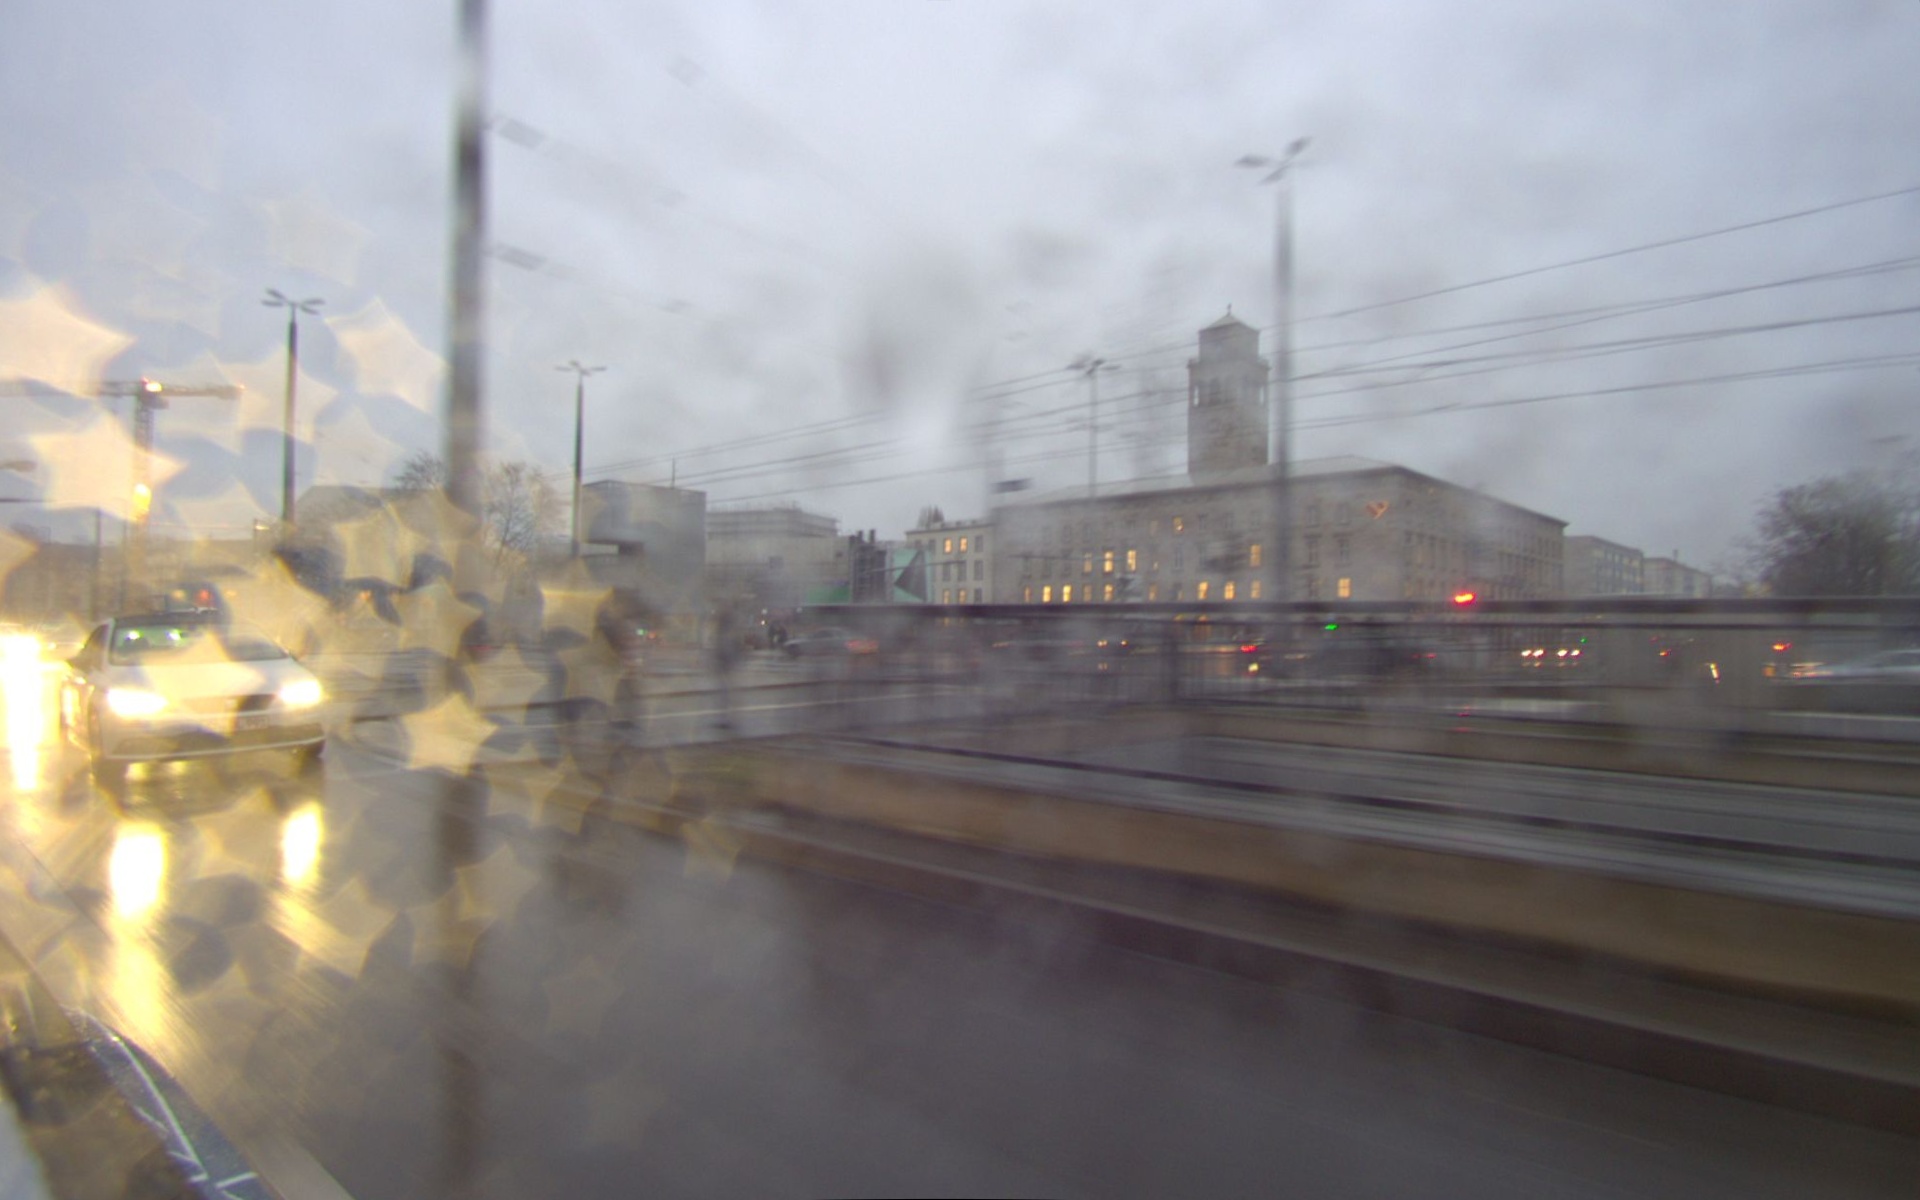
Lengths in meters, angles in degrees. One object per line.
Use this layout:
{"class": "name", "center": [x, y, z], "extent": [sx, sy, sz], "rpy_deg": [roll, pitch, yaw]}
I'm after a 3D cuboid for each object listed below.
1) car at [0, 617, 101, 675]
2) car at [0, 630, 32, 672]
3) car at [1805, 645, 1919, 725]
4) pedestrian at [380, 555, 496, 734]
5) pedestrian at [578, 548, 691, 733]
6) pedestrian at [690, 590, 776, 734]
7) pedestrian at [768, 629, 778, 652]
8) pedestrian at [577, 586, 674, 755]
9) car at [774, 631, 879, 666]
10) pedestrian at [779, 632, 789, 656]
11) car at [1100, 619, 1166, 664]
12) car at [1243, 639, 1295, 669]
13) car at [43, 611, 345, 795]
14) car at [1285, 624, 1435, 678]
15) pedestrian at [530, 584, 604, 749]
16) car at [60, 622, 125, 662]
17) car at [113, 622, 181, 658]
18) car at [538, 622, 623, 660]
{"class": "car", "center": [-28.205, 1.368, 31.292], "extent": [3.999, 1.696, 1.972], "rpy_deg": [-1, -2, 42]}
{"class": "car", "center": [-41.019, 2.147, 42.996], "extent": [3.984, 1.674, 1.844], "rpy_deg": [-1, -2, 40]}
{"class": "car", "center": [24.392, 2.149, 25.666], "extent": [4.377, 1.887, 1.856], "rpy_deg": [-1, -1, 37]}
{"class": "pedestrian", "center": [-6.654, 0.552, 12.910], "extent": [1.014, 2.162, 0.897], "rpy_deg": [-1, -1, 29]}
{"class": "pedestrian", "center": [-4.091, 0.502, 12.795], "extent": [0.948, 2.224, 1.048], "rpy_deg": [0, -1, 13]}
{"class": "pedestrian", "center": [-2.833, 0.754, 12.704], "extent": [0.757, 1.727, 0.857], "rpy_deg": [0, -1, 13]}
{"class": "pedestrian", "center": [-13.481, 2.929, 72.879], "extent": [0.645, 1.678, 0.743], "rpy_deg": [1, -2, -14]}
{"class": "pedestrian", "center": [-3.555, 0.735, 10.790], "extent": [0.743, 1.731, 0.651], "rpy_deg": [0, -1, 13]}
{"class": "car", "center": [-6.017, 2.142, 45.635], "extent": [4.420, 1.492, 1.981], "rpy_deg": [-1, -1, 28]}
{"class": "pedestrian", "center": [-12.655, 3.169, 72.895], "extent": [0.645, 1.674, 0.743], "rpy_deg": [1, -2, -14]}
{"class": "car", "center": [10.885, 2.542, 63.513], "extent": [2.001, 2.732, 4.376], "rpy_deg": [-1, -2, 44]}
{"class": "car", "center": [13.859, 2.405, 45.562], "extent": [1.431, 1.284, 3.158], "rpy_deg": [0, -1, 2]}
{"class": "car", "center": [-7.864, 0.887, 10.243], "extent": [4.139, 1.484, 1.789], "rpy_deg": [-2, -2, 43]}
{"class": "car", "center": [13.069, 1.625, 33.152], "extent": [4.225, 1.628, 1.856], "rpy_deg": [-1, -1, 37]}
{"class": "pedestrian", "center": [-4.287, 0.710, 11.076], "extent": [0.656, 1.748, 0.607], "rpy_deg": [1, 0, -14]}
{"class": "car", "center": [-43.360, 2.095, 50.562], "extent": [3.999, 1.896, 1.927], "rpy_deg": [-2, -2, 42]}
{"class": "car", "center": [-36.449, 1.778, 45.339], "extent": [3.927, 1.541, 1.776], "rpy_deg": [-2, -2, 42]}
{"class": "car", "center": [-21.295, 2.269, 56.688], "extent": [4.776, 2.029, 1.978], "rpy_deg": [-1, -1, 32]}
